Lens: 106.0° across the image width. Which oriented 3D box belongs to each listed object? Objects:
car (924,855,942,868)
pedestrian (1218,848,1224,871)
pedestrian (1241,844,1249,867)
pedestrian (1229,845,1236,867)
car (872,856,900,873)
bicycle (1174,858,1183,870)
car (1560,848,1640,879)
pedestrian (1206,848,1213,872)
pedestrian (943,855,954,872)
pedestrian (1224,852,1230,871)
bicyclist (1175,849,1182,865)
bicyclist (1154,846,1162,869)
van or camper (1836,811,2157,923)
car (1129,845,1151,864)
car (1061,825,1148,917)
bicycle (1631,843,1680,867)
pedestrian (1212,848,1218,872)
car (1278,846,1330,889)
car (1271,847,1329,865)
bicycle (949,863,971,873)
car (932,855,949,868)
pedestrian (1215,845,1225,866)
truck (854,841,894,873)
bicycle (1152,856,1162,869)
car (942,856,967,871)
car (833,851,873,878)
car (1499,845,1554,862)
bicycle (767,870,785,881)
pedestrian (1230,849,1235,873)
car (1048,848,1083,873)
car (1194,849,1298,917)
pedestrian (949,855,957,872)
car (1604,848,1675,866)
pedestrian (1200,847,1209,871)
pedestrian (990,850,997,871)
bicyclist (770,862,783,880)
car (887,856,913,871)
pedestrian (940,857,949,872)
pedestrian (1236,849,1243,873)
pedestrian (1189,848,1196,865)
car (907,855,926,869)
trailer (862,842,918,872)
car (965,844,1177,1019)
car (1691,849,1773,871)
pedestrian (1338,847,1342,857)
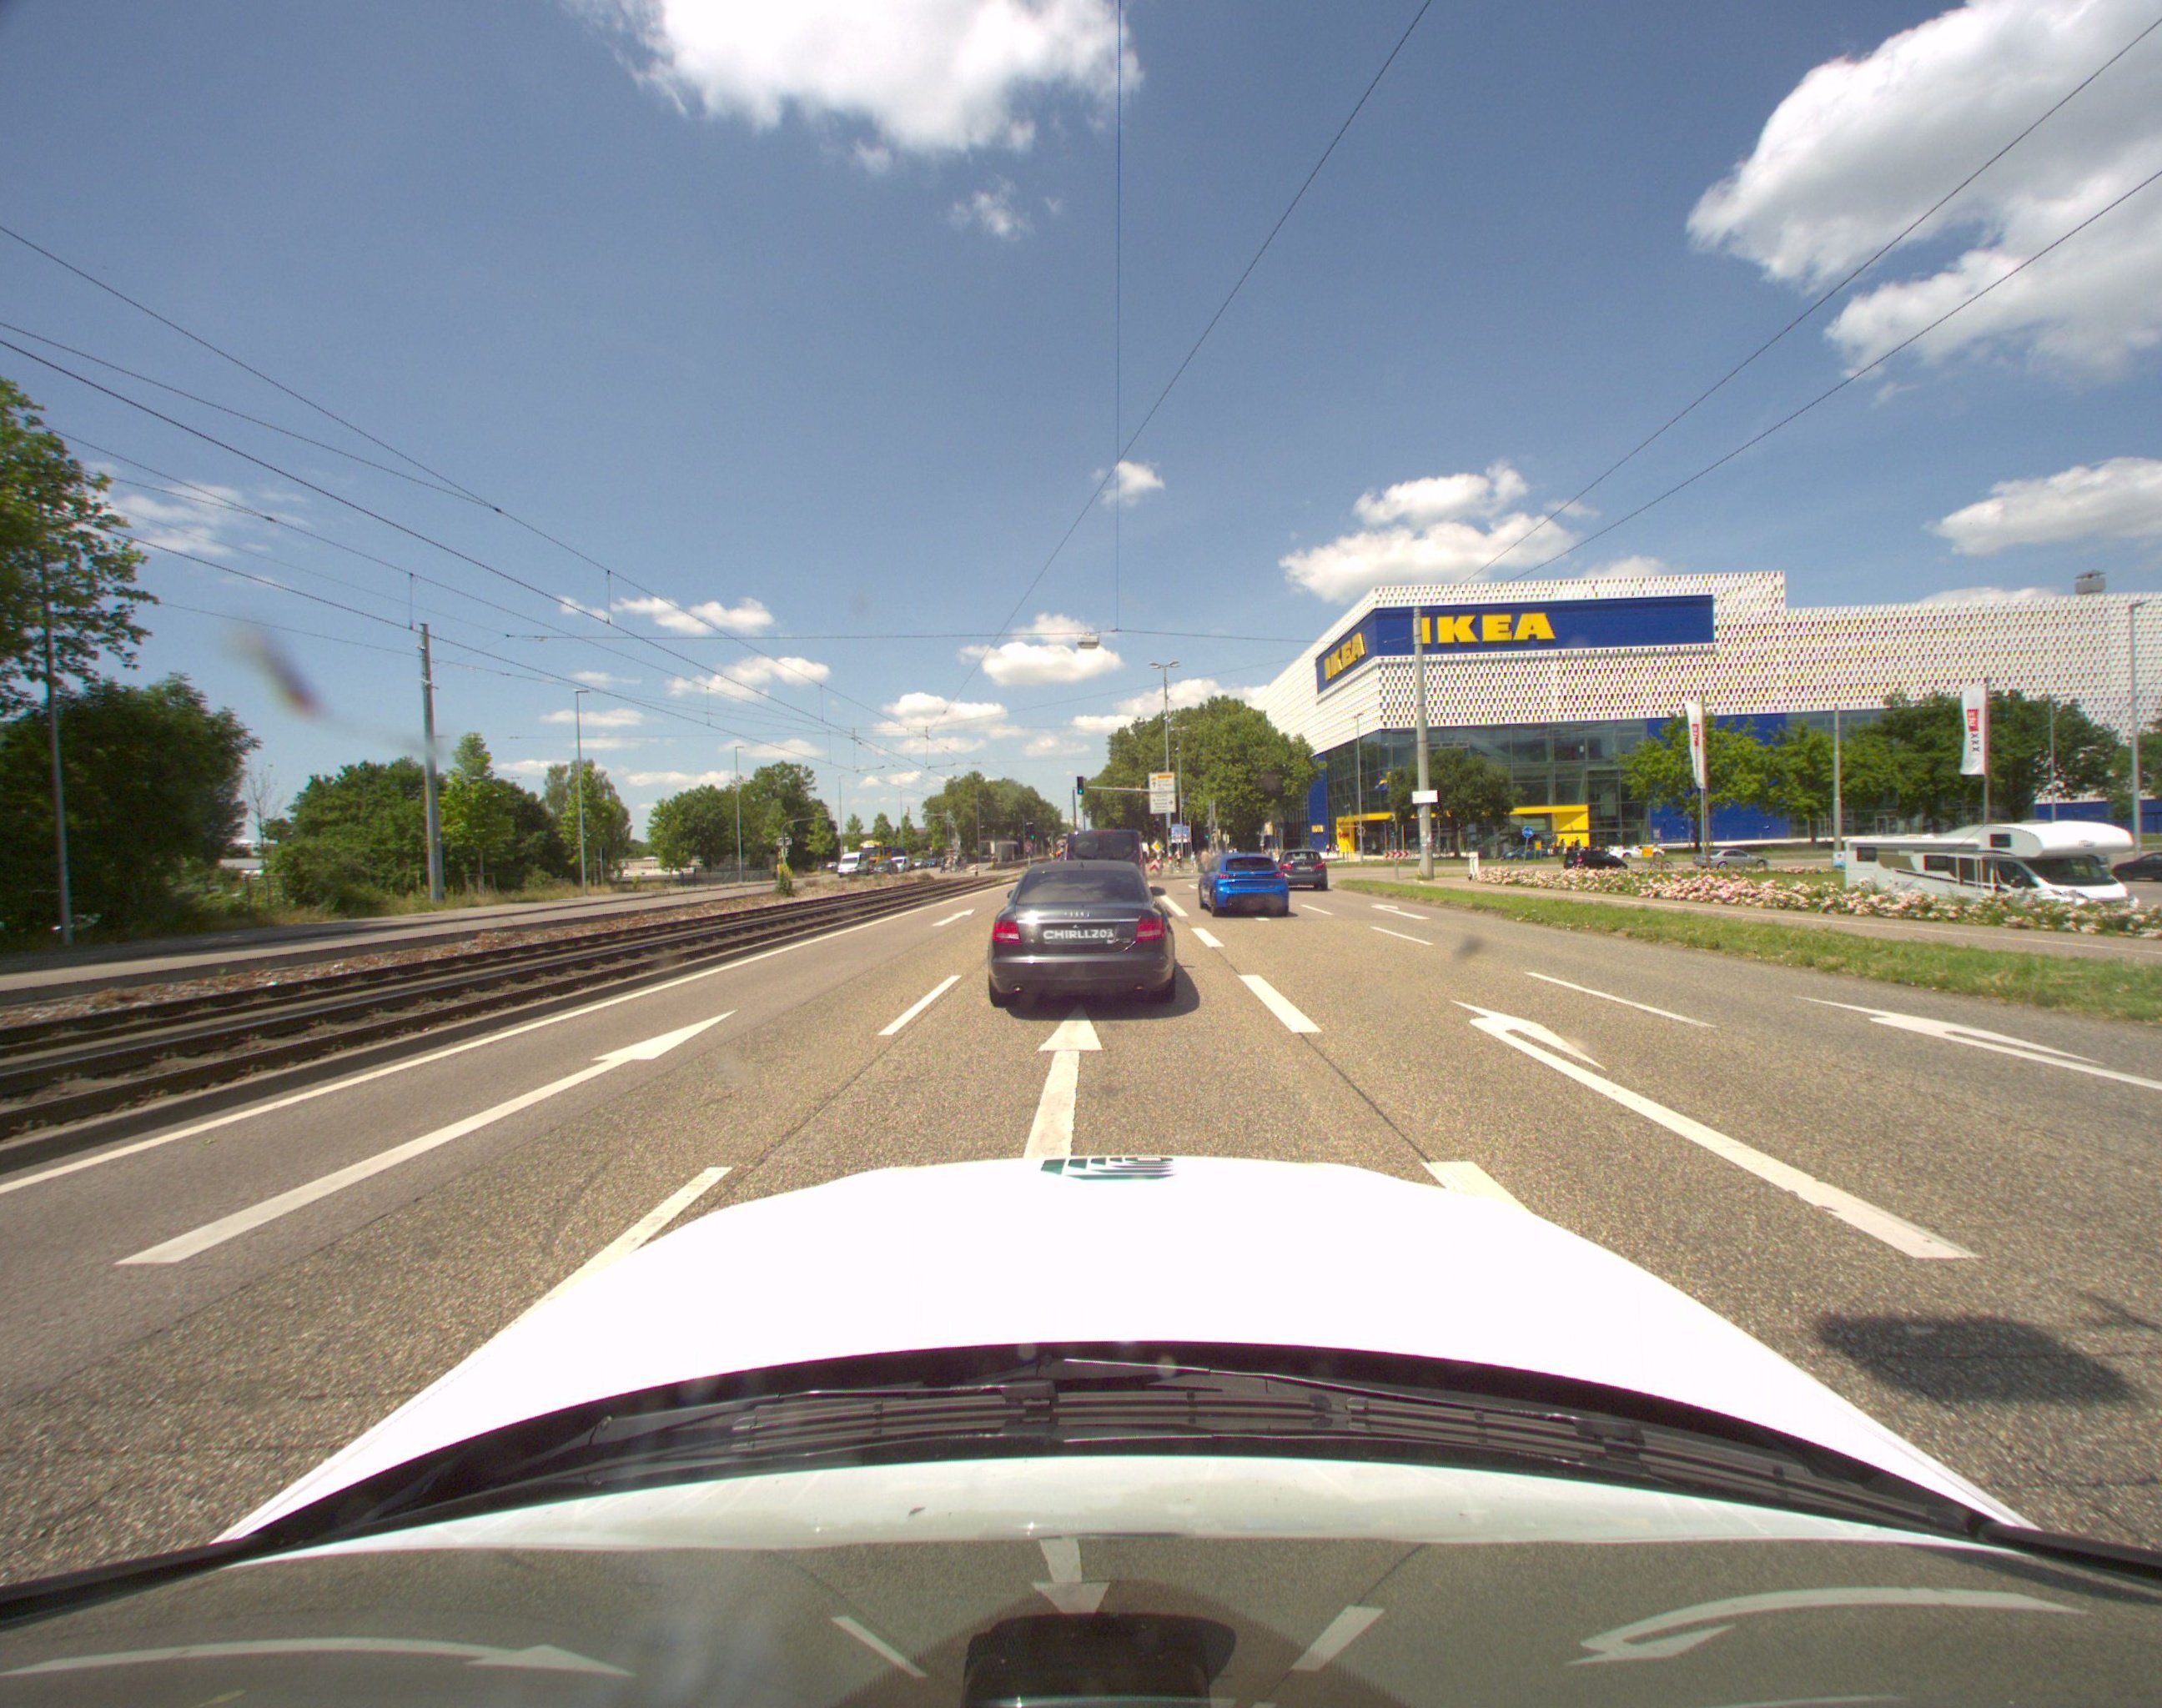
[{"bbox_3d":[-22.604,1.173,124.423,1.811,1.883,4.002,-1,0,2],"label":"car"},{"bbox_3d":[9.659,0.372,56.243,0.337,1.635,0.377,-1,0,5],"label":"pedestrian"},{"bbox_3d":[12.063,0.080,59.846,0.518,1.670,0.495,-1,0,5],"label":"pedestrian"},{"bbox_3d":[11.143,0.148,59.885,0.501,1.635,0.449,-1,0,4],"label":"pedestrian"},{"bbox_3d":[-20.632,1.111,86.337,1.815,1.670,4.463,0,0,2],"label":"car"},{"bbox_3d":[7.502,0.741,62.720,0.548,0.877,1.698,-1,0,2],"label":"bicycle"},{"bbox_3d":[35.251,0.643,55.408,4.170,2.013,1.999,-1,0,-2],"label":"car"},{"bbox_3d":[8.941,0.419,56.837,0.443,1.635,0.430,-1,0,5],"label":"pedestrian"},{"bbox_3d":[-13.224,0.943,81.390,0.816,1.720,0.779,-1,0,24],"label":"pedestrian"},{"bbox_3d":[10.071,0.539,56.168,0.371,1.303,0.365,-1,0,5],"label":"pedestrian"},{"bbox_3d":[7.492,0.245,62.472,0.468,1.193,0.792,-1,0,3],"label":"bicyclist"},{"bbox_3d":[5.949,0.251,63.000,0.526,1.789,1.089,-1,0,2],"label":"bicyclist"},{"bbox_3d":[28.217,0.345,25.751,2.494,3.020,7.235,-1,0,6],"label":"van or camper"},{"bbox_3d":[7.330,0.022,102.271,1.990,2.309,4.767,-1,0,-5],"label":"car"},{"bbox_3d":[0.569,0.369,19.492,1.830,1.950,4.001,-1,0,2],"label":"car"},{"bbox_3d":[36.797,0.056,52.178,2.410,1.481,0.990,-1,0,6],"label":"bicycle"},{"bbox_3d":[9.280,0.395,56.278,0.379,1.635,0.377,-1,0,5],"label":"pedestrian"},{"bbox_3d":[8.519,0.472,31.208,1.748,1.526,4.116,-1,0,15],"label":"car"},{"bbox_3d":[18.448,0.170,68.768,4.475,1.486,2.003,0,0,5],"label":"car"},{"bbox_3d":[-11.504,1.296,77.696,2.055,0.925,0.751,-1,0,-8],"label":"bicycle"},{"bbox_3d":[-22.345,1.183,129.765,1.811,1.883,4.002,-1,0,2],"label":"car"},{"bbox_3d":[12.309,0.141,71.911,0.678,1.846,0.711,-1,0,27],"label":"pedestrian"},{"bbox_3d":[-24.190,0.318,95.549,2.757,3.569,6.442,-1,0,2],"label":"truck"},{"bbox_3d":[5.921,0.653,63.563,0.685,0.993,2.753,-1,0,2],"label":"bicycle"},{"bbox_3d":[-14.665,1.033,94.489,1.814,1.670,4.467,0,0,4],"label":"car"},{"bbox_3d":[-24.184,1.093,86.634,2.235,2.588,6.236,-4,1,1],"label":"car"},{"bbox_3d":[38.879,-0.043,71.179,3.770,1.486,2.003,0,0,5],"label":"car"},{"bbox_3d":[-29.254,2.037,78.118,1.487,0.987,0.485,-1,0,-2],"label":"bicycle"},{"bbox_3d":[10.436,0.478,56.142,0.319,1.635,0.377,-1,0,5],"label":"pedestrian"},{"bbox_3d":[-0.933,0.375,51.821,1.986,1.486,4.002,0,0,2],"label":"car"},{"bbox_3d":[3.855,0.614,19.640,1.830,1.454,4.002,0,0,2],"label":"car"},{"bbox_3d":[-12.486,0.924,79.724,0.683,1.564,0.572,-1,0,-2],"label":"pedestrian"},{"bbox_3d":[46.436,0.233,67.757,4.475,1.486,2.003,0,0,5],"label":"car"},{"bbox_3d":[8.641,0.344,56.971,0.551,1.635,0.433,-1,0,4],"label":"pedestrian"},{"bbox_3d":[-8.675,0.646,80.644,0.683,2.013,0.572,-1,0,-3],"label":"pedestrian"},{"bbox_3d":[-29.222,1.632,78.161,1.116,1.774,0.340,-1,0,-3],"label":"bicyclist"},{"bbox_3d":[-20.629,1.080,92.965,1.814,1.670,4.465,0,0,3],"label":"car"},{"bbox_3d":[-13.172,0.986,78.628,0.683,1.443,0.572,-1,0,-2],"label":"pedestrian"},{"bbox_3d":[10.926,0.472,56.125,0.396,1.635,0.371,-1,0,4],"label":"pedestrian"},{"bbox_3d":[10.097,0.204,73.636,0.490,1.520,0.710,-1,0,19],"label":"pedestrian"},{"bbox_3d":[-23.157,1.164,114.782,1.811,1.883,4.002,-1,0,2],"label":"car"},{"bbox_3d":[-23.953,0.304,103.235,2.757,3.518,15.884,-1,0,2],"label":"trailer"},{"bbox_3d":[-0.018,0.660,9.094,1.786,1.455,4.002,-2,0,2],"label":"car"},{"bbox_3d":[45.099,0.419,56.447,4.140,1.486,2.000,0,0,-1],"label":"car"},{"bbox_3d":[33.132,-0.254,104.189,0.287,1.342,0.266,-1,0,1],"label":"pedestrian"}]
